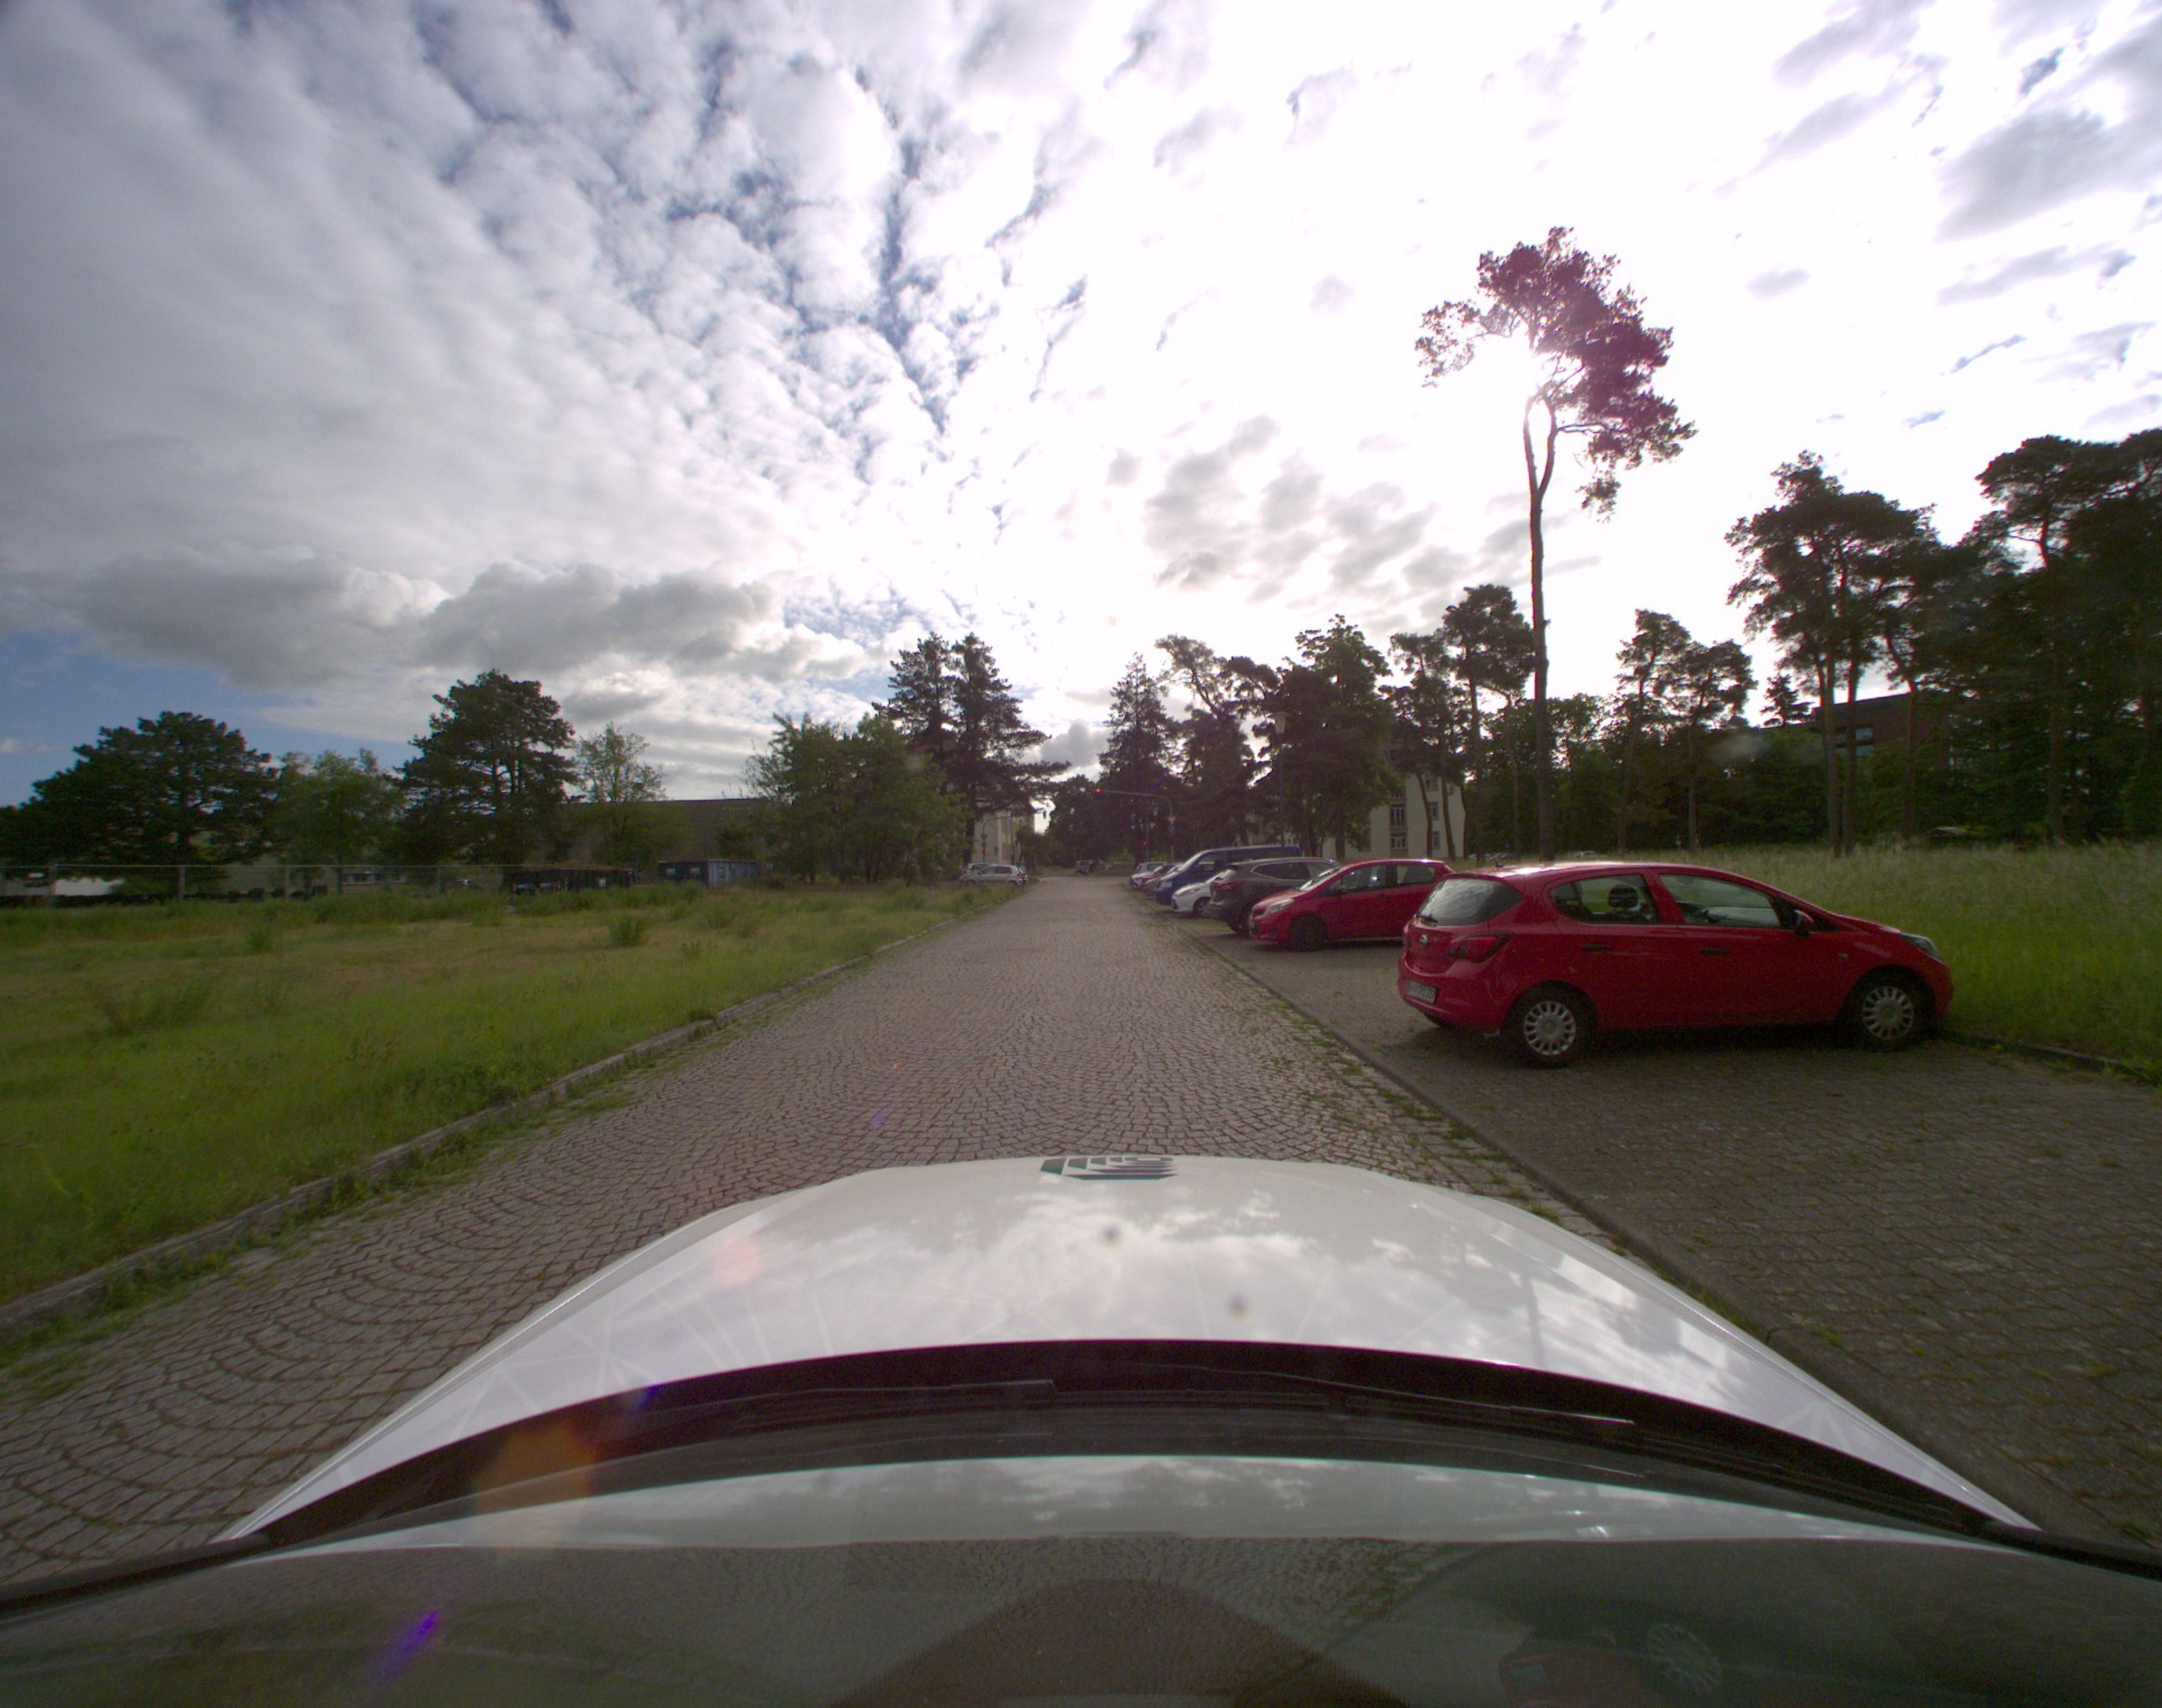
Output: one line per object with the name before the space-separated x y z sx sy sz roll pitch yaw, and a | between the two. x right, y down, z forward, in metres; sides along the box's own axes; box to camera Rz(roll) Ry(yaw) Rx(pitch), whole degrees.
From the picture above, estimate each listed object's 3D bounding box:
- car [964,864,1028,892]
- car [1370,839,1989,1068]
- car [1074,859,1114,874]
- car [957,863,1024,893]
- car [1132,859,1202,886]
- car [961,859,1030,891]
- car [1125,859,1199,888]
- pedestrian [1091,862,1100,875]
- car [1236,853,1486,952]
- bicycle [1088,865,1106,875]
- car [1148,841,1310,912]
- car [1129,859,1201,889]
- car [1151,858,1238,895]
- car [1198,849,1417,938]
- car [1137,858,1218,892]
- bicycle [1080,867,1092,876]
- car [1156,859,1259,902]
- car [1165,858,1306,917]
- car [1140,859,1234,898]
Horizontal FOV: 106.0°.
car | -5.306 1.498 51.074 3.810 1.572 1.564 -3 -1 -1
car | 4.647 0.726 6.777 3.814 1.460 1.779 -3 -1 -1
car | 1.807 1.770 116.590 5.444 2.014 2.261 -1 -1 -9
car | -5.366 1.432 48.658 3.813 1.572 1.562 -3 -1 -4
car | 5.240 1.129 49.777 3.960 1.421 1.617 -3 -1 -5
car | -5.637 1.381 54.062 4.249 1.840 1.743 -3 -1 -1
car | 4.652 1.131 47.125 3.960 1.421 1.617 -3 -1 -5
pedestrian | 1.715 1.767 99.023 1.031 1.614 0.756 -1 -1 -5
car | 4.809 0.814 14.383 3.780 1.460 1.751 -3 -1 0
bicycle | 1.915 1.966 98.678 2.133 1.215 0.621 -1 -1 -5
car | 4.628 0.712 25.987 4.742 1.954 1.930 -3 -1 -2
car | 4.546 1.094 44.269 3.665 1.421 1.521 -3 -1 -5
car | 5.125 1.010 37.030 3.662 1.449 1.523 -3 -1 -2
car | 4.626 0.791 17.016 4.019 1.552 1.749 -3 -1 -3
car | 4.666 1.033 39.734 3.662 1.449 1.523 -3 -1 -2
bicycle | 0.586 2.030 94.602 0.623 0.945 1.648 0 -1 -27
car | 4.809 0.997 31.261 3.662 1.449 1.523 -3 -1 -2
car | 4.372 0.940 23.390 3.663 1.449 1.613 -3 -1 -3
car | 4.406 1.008 34.039 3.662 1.449 1.523 -3 -1 -2
